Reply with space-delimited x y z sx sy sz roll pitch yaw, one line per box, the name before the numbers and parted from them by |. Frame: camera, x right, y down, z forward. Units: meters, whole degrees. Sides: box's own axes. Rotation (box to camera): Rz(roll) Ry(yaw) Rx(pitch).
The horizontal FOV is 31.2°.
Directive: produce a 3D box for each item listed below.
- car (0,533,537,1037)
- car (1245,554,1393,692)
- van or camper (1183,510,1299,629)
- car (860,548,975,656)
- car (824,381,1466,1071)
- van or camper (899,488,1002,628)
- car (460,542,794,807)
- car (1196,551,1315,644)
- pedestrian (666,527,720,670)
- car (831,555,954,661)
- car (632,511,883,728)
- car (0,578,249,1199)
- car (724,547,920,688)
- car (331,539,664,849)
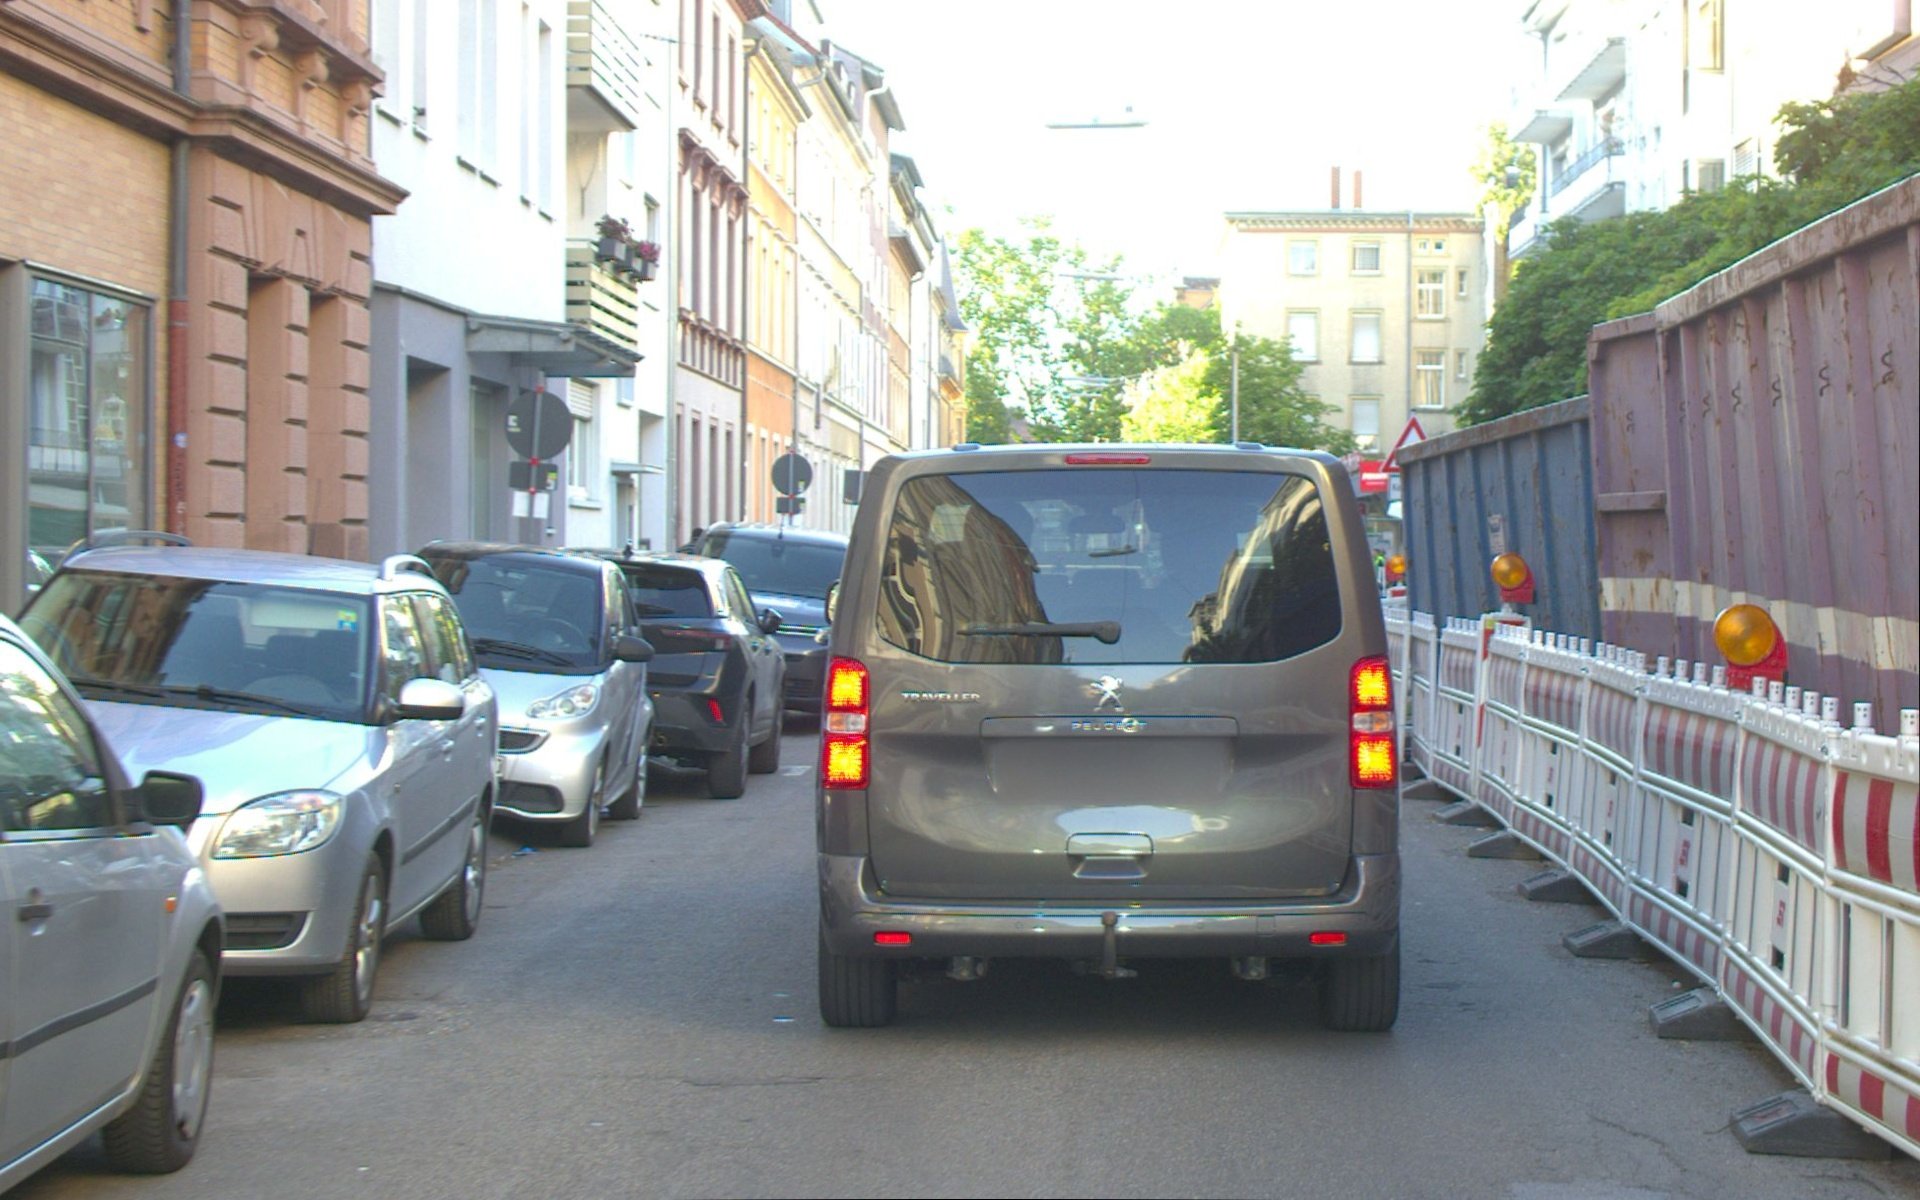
car | -2.627 0.552 12.615 1.555 1.503 3.597 3 1 1
car | 4.691 0.261 45.412 1.749 1.677 4.525 2 1 4
van or camper | 6.362 -0.711 78.671 2.099 2.593 7.512 0 1 0
car | -0.676 0.006 57.282 1.711 1.638 3.979 3 1 1
car | 0.591 0.344 12.136 1.857 2.007 4.000 -1 1 1
van or camper | -0.176 -0.846 68.711 1.949 2.640 7.141 0 1 0
car | -2.153 0.428 23.213 1.740 1.594 4.014 1 1 1
car | 5.345 -0.069 62.641 1.722 1.606 4.589 1 1 0
pedestrian | -3.107 -0.017 40.036 0.495 1.633 0.665 2 0 2
car | -0.995 0.093 52.101 1.657 1.443 3.286 4 1 1
car | -1.819 0.135 32.321 1.993 1.852 4.585 1 1 1
car | -2.680 0.678 7.089 1.632 1.425 3.555 1 1 1
car | -1.629 0.187 41.738 1.669 1.480 3.605 6 1 7
car | -2.527 0.469 19.294 1.396 1.583 2.794 1 1 1
